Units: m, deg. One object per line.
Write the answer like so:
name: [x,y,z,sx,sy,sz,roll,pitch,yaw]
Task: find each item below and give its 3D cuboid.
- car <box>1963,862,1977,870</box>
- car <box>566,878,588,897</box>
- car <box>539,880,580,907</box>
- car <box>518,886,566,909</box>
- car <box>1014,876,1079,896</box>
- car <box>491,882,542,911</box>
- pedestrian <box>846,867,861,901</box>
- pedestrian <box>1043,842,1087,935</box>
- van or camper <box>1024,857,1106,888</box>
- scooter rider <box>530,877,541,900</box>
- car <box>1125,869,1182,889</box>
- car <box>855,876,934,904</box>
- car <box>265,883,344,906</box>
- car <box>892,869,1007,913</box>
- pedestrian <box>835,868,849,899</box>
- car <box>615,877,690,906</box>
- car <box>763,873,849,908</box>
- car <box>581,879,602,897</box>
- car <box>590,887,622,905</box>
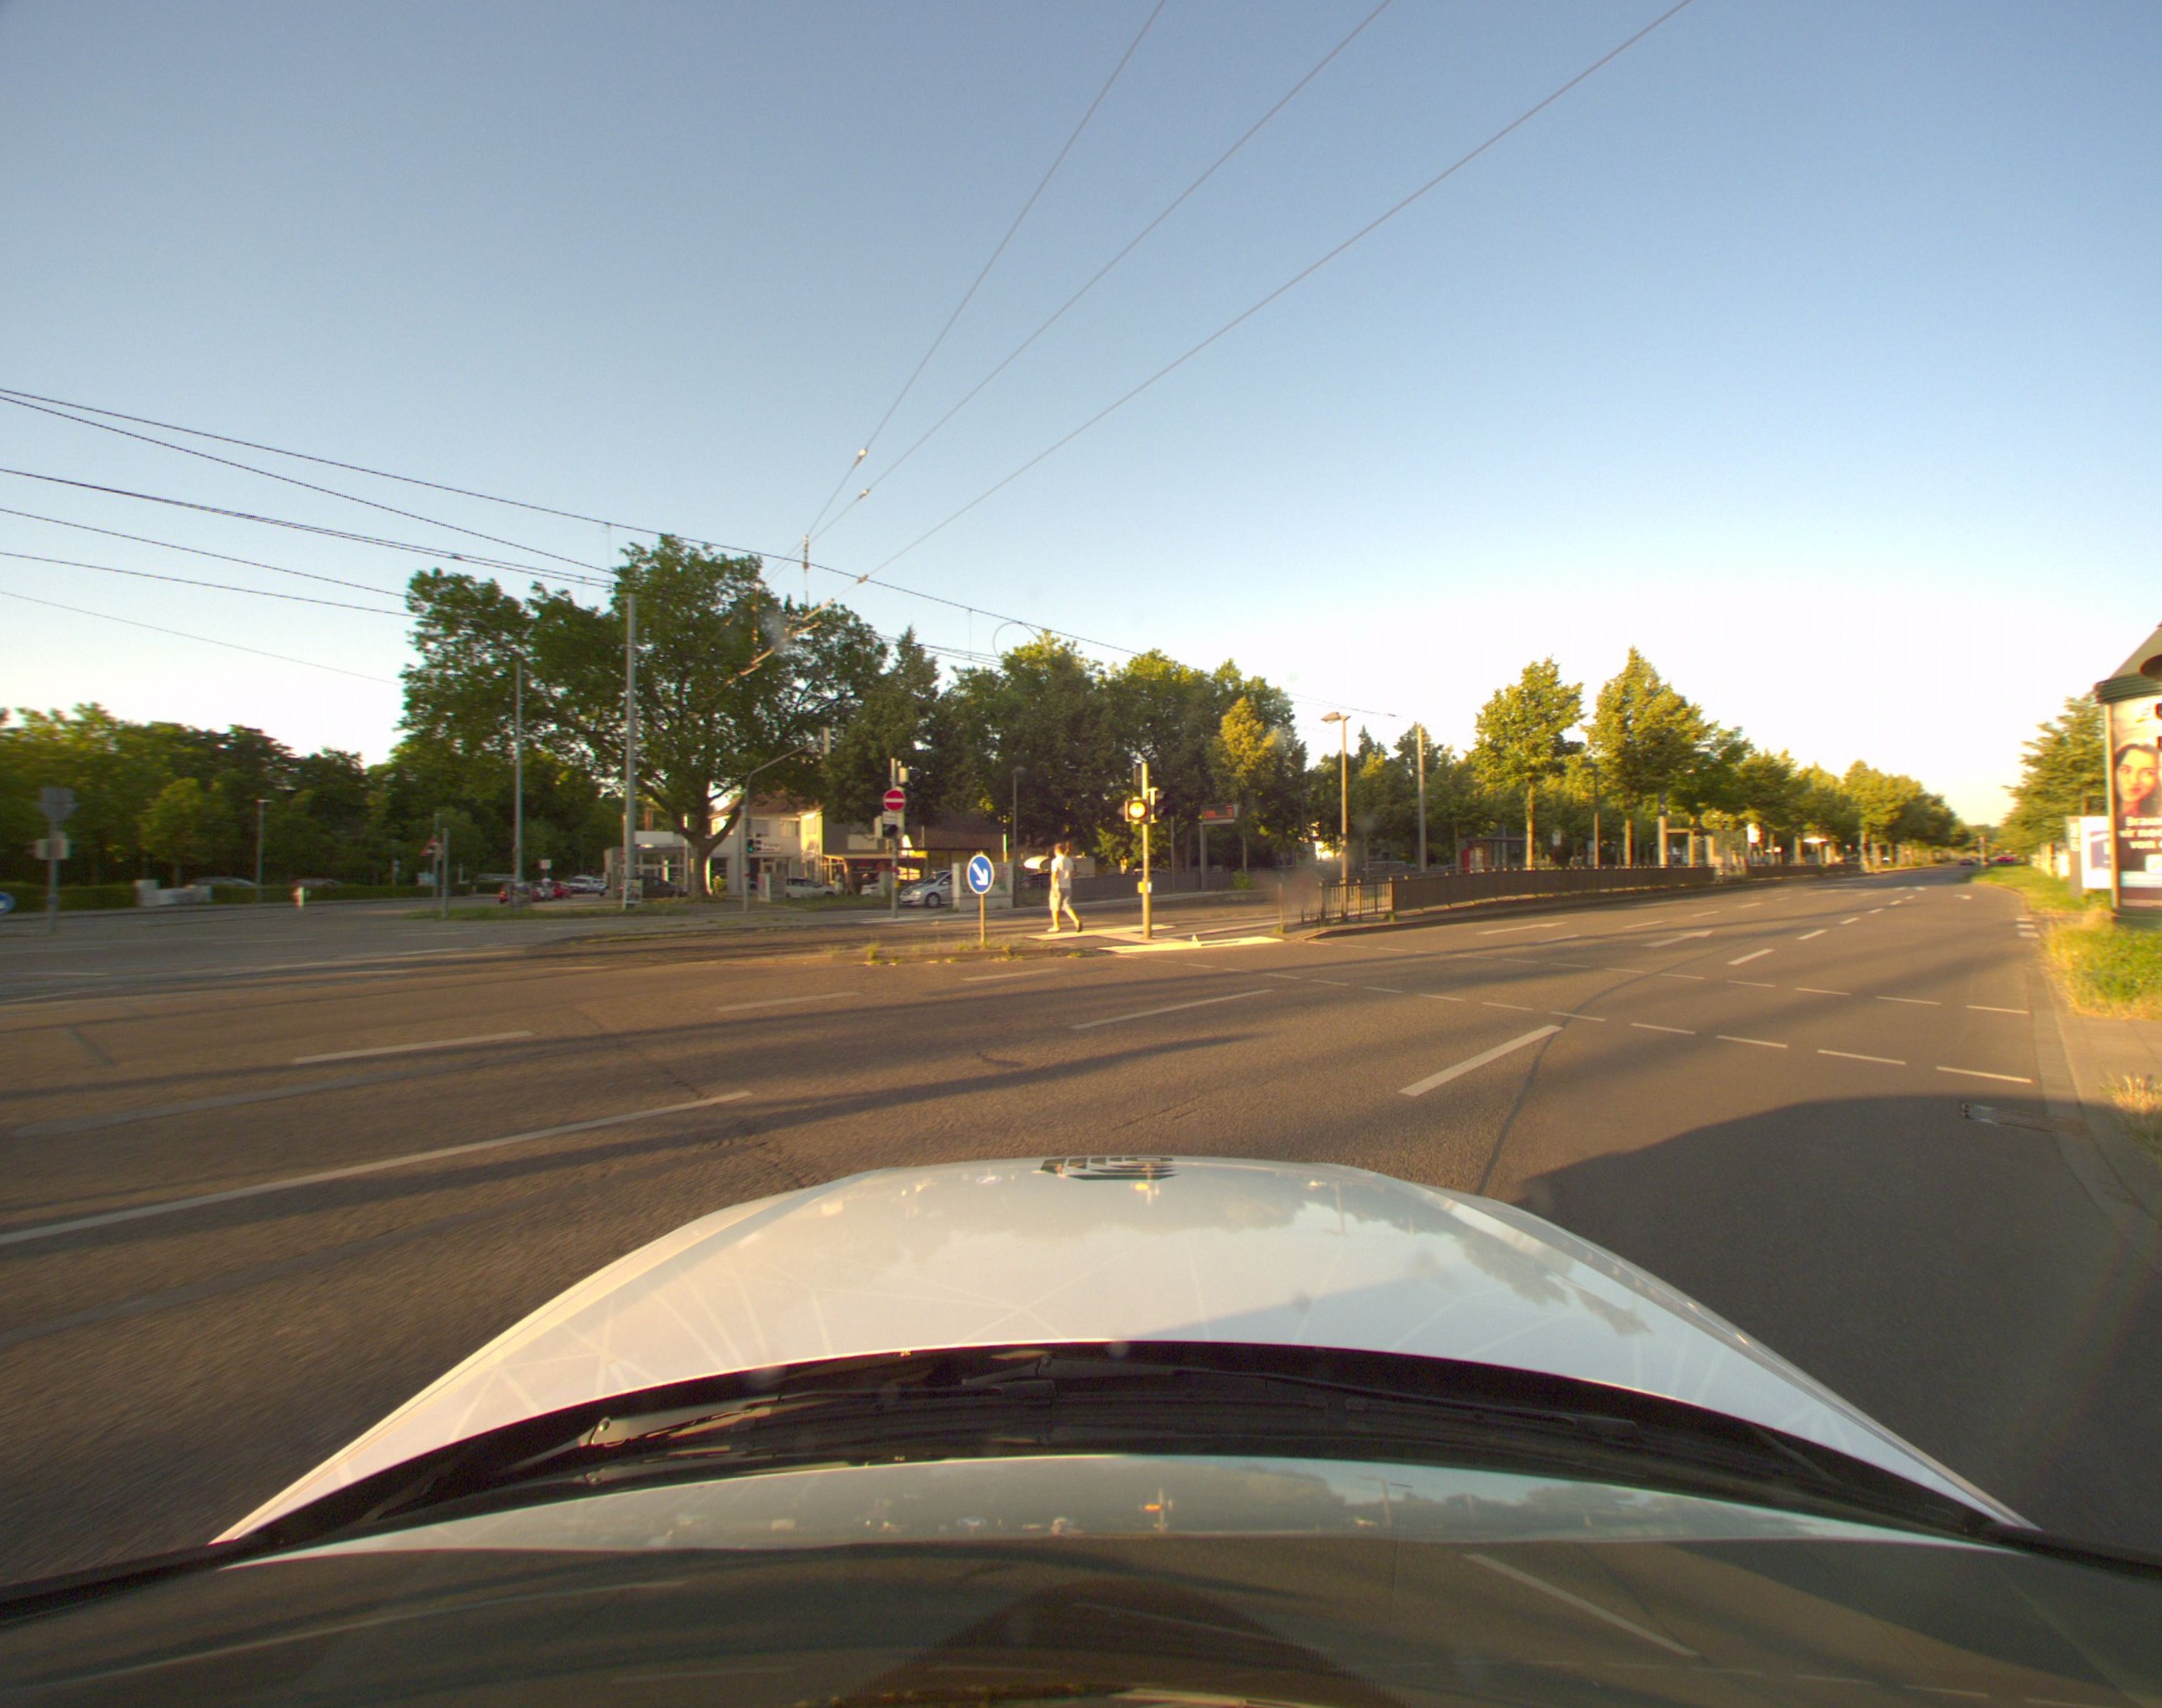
car: [173.290,2.354,158.722,4.021,1.596,1.680,1,-3,-42]
car: [-55.033,3.666,88.966,2.007,2.014,3.959,0,-2,-32]
car: [-41.363,3.073,64.642,1.922,2.047,3.971,0,-2,-21]
car: [-40.137,3.202,60.771,2.000,1.574,3.974,0,-1,-19]
car: [-2.416,2.243,57.743,4.263,1.300,1.905,0,-2,-37]
car: [-39.268,2.947,56.754,1.873,1.875,3.851,0,-1,-18]
pedestrian: [-12.189,1.601,43.627,0.719,1.754,0.893,0,-2,-15]
pedestrian: [-0.324,0.680,16.154,0.761,1.791,0.800,1,-2,-9]
van or camper: [-1.262,1.522,67.216,6.612,2.410,2.240,0,-3,-35]
scooter rider: [-44.590,2.834,66.570,0.708,1.855,0.661,1,-3,-39]
car: [5.712,1.959,64.135,4.263,1.465,1.978,0,-2,-37]
car: [-11.280,2.147,49.345,4.263,1.577,1.978,0,-2,-37]
car: [-57.009,2.955,59.901,4.018,1.561,1.977,0,-2,-38]
car: [-5.525,1.524,34.641,4.574,1.728,1.839,1,-2,-43]
pedestrian: [-13.068,1.604,44.570,0.719,1.639,0.893,0,-2,-15]
car: [-29.466,2.563,56.034,4.408,1.835,1.928,0,-2,-34]
car: [-15.600,2.034,46.298,4.263,1.846,1.978,0,-2,-37]
car: [-56.368,3.871,93.738,2.007,2.014,3.959,0,-2,-32]
car: [-44.771,3.942,76.790,1.922,1.603,3.971,0,-1,-21]
